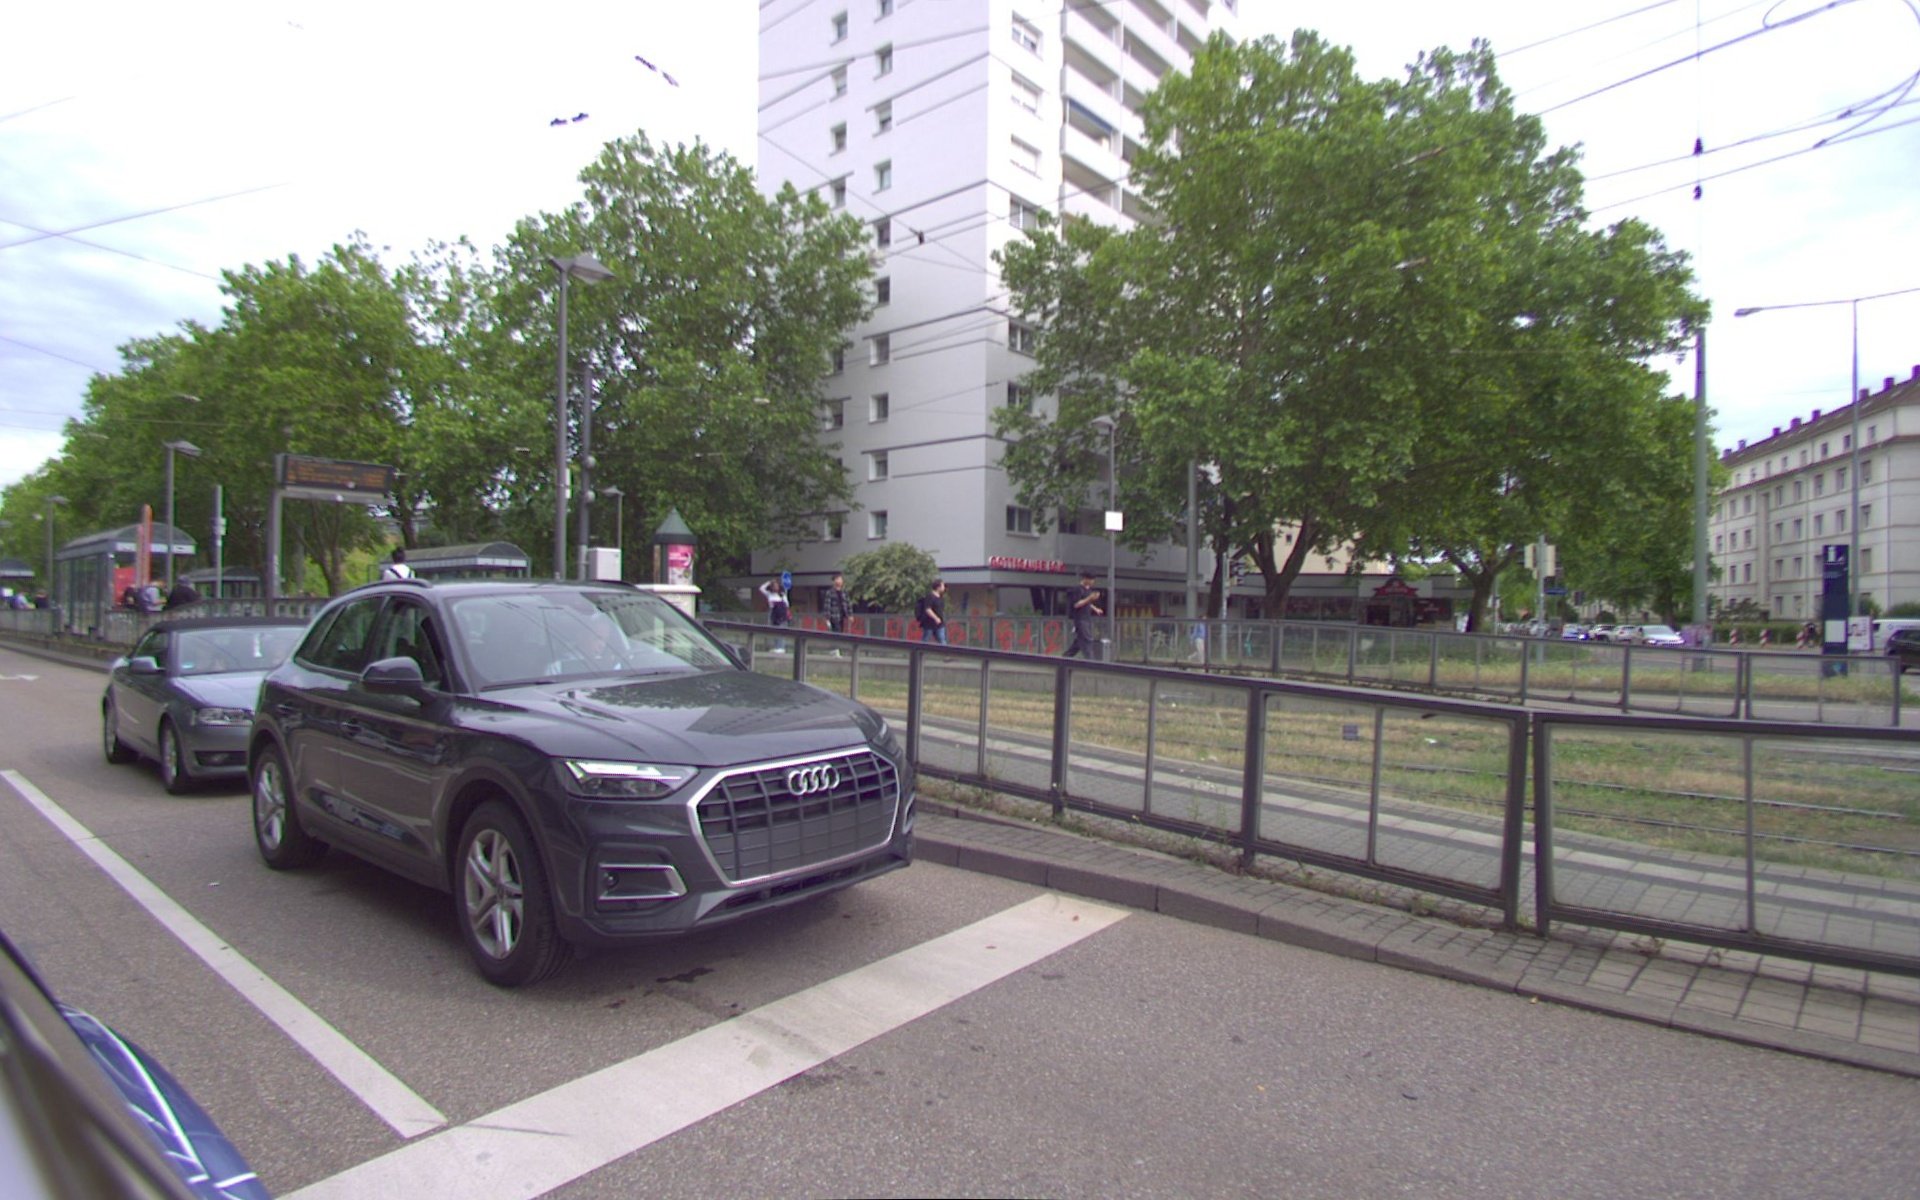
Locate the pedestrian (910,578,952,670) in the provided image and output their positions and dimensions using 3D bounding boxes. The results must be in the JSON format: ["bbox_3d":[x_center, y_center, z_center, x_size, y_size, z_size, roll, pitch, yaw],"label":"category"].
[{"bbox_3d":[-0.567,0.458,19.731,0.548,1.764,0.614,-1,-1,42],"label":"pedestrian"}]

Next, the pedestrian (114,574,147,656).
[{"bbox_3d":[-21.121,0.375,25.769,0.822,2.066,0.577,-1,-1,45],"label":"pedestrian"}]

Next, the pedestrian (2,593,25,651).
[{"bbox_3d":[-34.394,0.781,36.762,0.822,2.066,0.577,-1,-1,45],"label":"pedestrian"}]

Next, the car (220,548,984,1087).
[{"bbox_3d":[-2.148,0.687,5.287,4.366,1.660,1.892,-1,0,41],"label":"car"}]

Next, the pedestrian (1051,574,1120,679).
[{"bbox_3d":[2.109,0.438,17.051,0.878,1.708,0.733,-1,-1,42],"label":"pedestrian"}]

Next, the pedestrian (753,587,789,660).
[{"bbox_3d":[-4.463,0.545,23.873,0.565,1.681,0.614,-1,-1,42],"label":"pedestrian"}]

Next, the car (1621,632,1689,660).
[{"bbox_3d":[38.143,2.519,55.650,1.745,1.431,3.981,0,-1,14],"label":"car"}]

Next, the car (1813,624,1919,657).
[{"bbox_3d":[48.278,2.129,53.388,4.820,1.676,1.977,-1,-2,34],"label":"car"}]

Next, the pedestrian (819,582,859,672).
[{"bbox_3d":[-2.499,0.546,20.849,0.534,1.803,0.614,-1,-1,42],"label":"pedestrian"}]

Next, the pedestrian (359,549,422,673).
[{"bbox_3d":[-8.343,0.155,14.831,0.534,1.764,0.654,-1,-1,42],"label":"pedestrian"}]

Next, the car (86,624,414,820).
[{"bbox_3d":[-6.710,0.945,9.394,4.012,1.385,1.616,-1,0,42],"label":"car"}]

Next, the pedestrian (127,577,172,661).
[{"bbox_3d":[-17.819,0.408,22.253,0.822,1.805,0.674,-1,-1,45],"label":"pedestrian"}]

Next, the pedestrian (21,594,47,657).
[{"bbox_3d":[-30.587,0.837,33.426,0.822,2.066,0.577,-1,-1,45],"label":"pedestrian"}]

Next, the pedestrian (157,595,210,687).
[{"bbox_3d":[-15.478,0.802,20.187,0.652,1.805,0.535,0,0,-9],"label":"pedestrian"}]

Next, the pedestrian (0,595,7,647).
[{"bbox_3d":[-38.065,0.830,39.962,0.822,2.066,0.577,-1,-1,45],"label":"pedestrian"}]

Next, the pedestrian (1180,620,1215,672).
[{"bbox_3d":[7.079,1.358,30.196,0.546,1.520,0.854,0,-1,-44],"label":"pedestrian"}]
